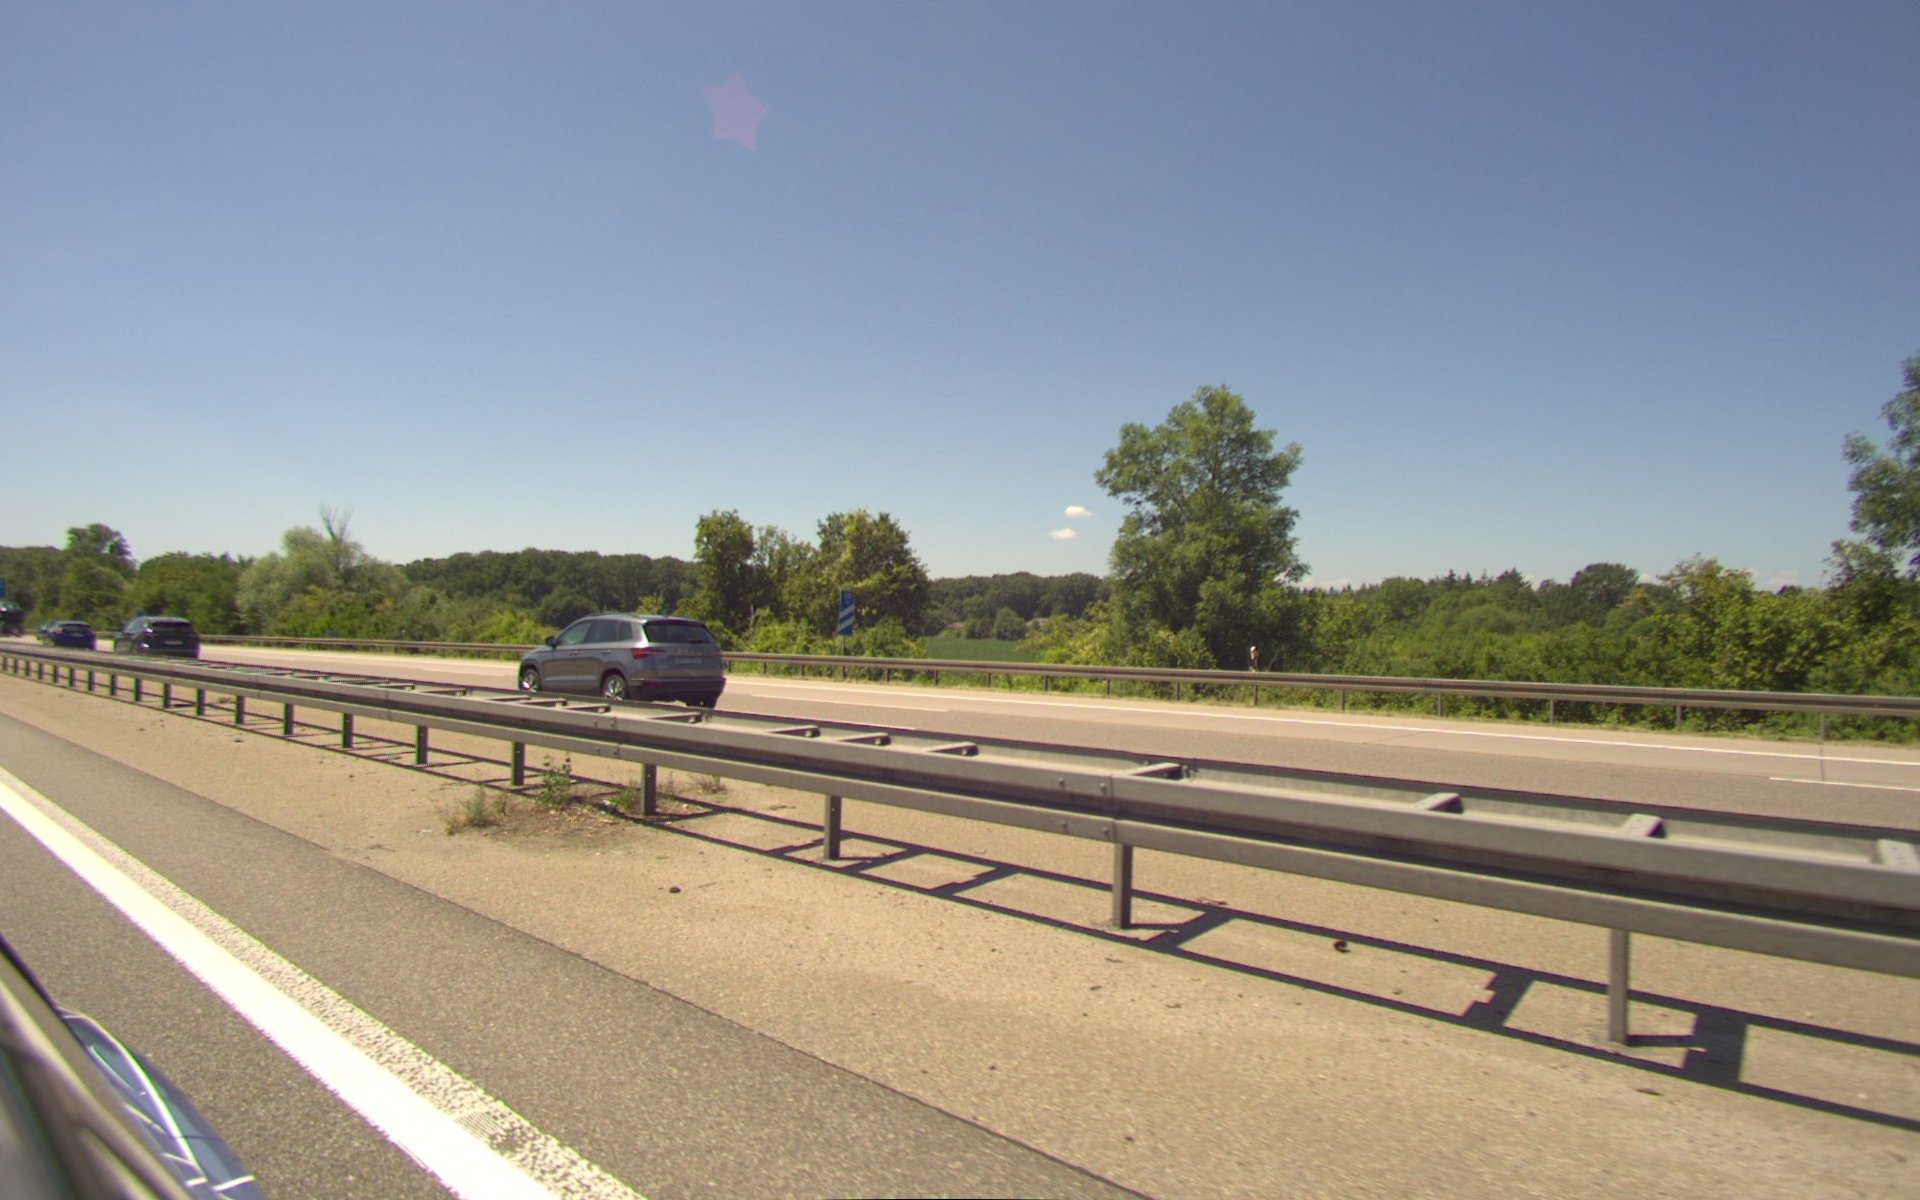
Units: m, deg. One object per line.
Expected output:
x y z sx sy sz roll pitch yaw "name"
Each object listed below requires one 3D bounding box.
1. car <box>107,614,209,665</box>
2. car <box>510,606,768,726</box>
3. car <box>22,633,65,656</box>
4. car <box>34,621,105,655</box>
-28.449 1.369 35.847 4.405 1.703 1.973 -1 -2 40 "car"
-5.338 1.011 16.564 4.405 1.703 1.973 -1 -3 40 "car"
-80.545 3.882 88.945 4.576 1.886 1.974 -1 -5 39 "car"
-44.015 1.841 49.997 4.596 1.617 1.973 -1 -2 40 "car"
